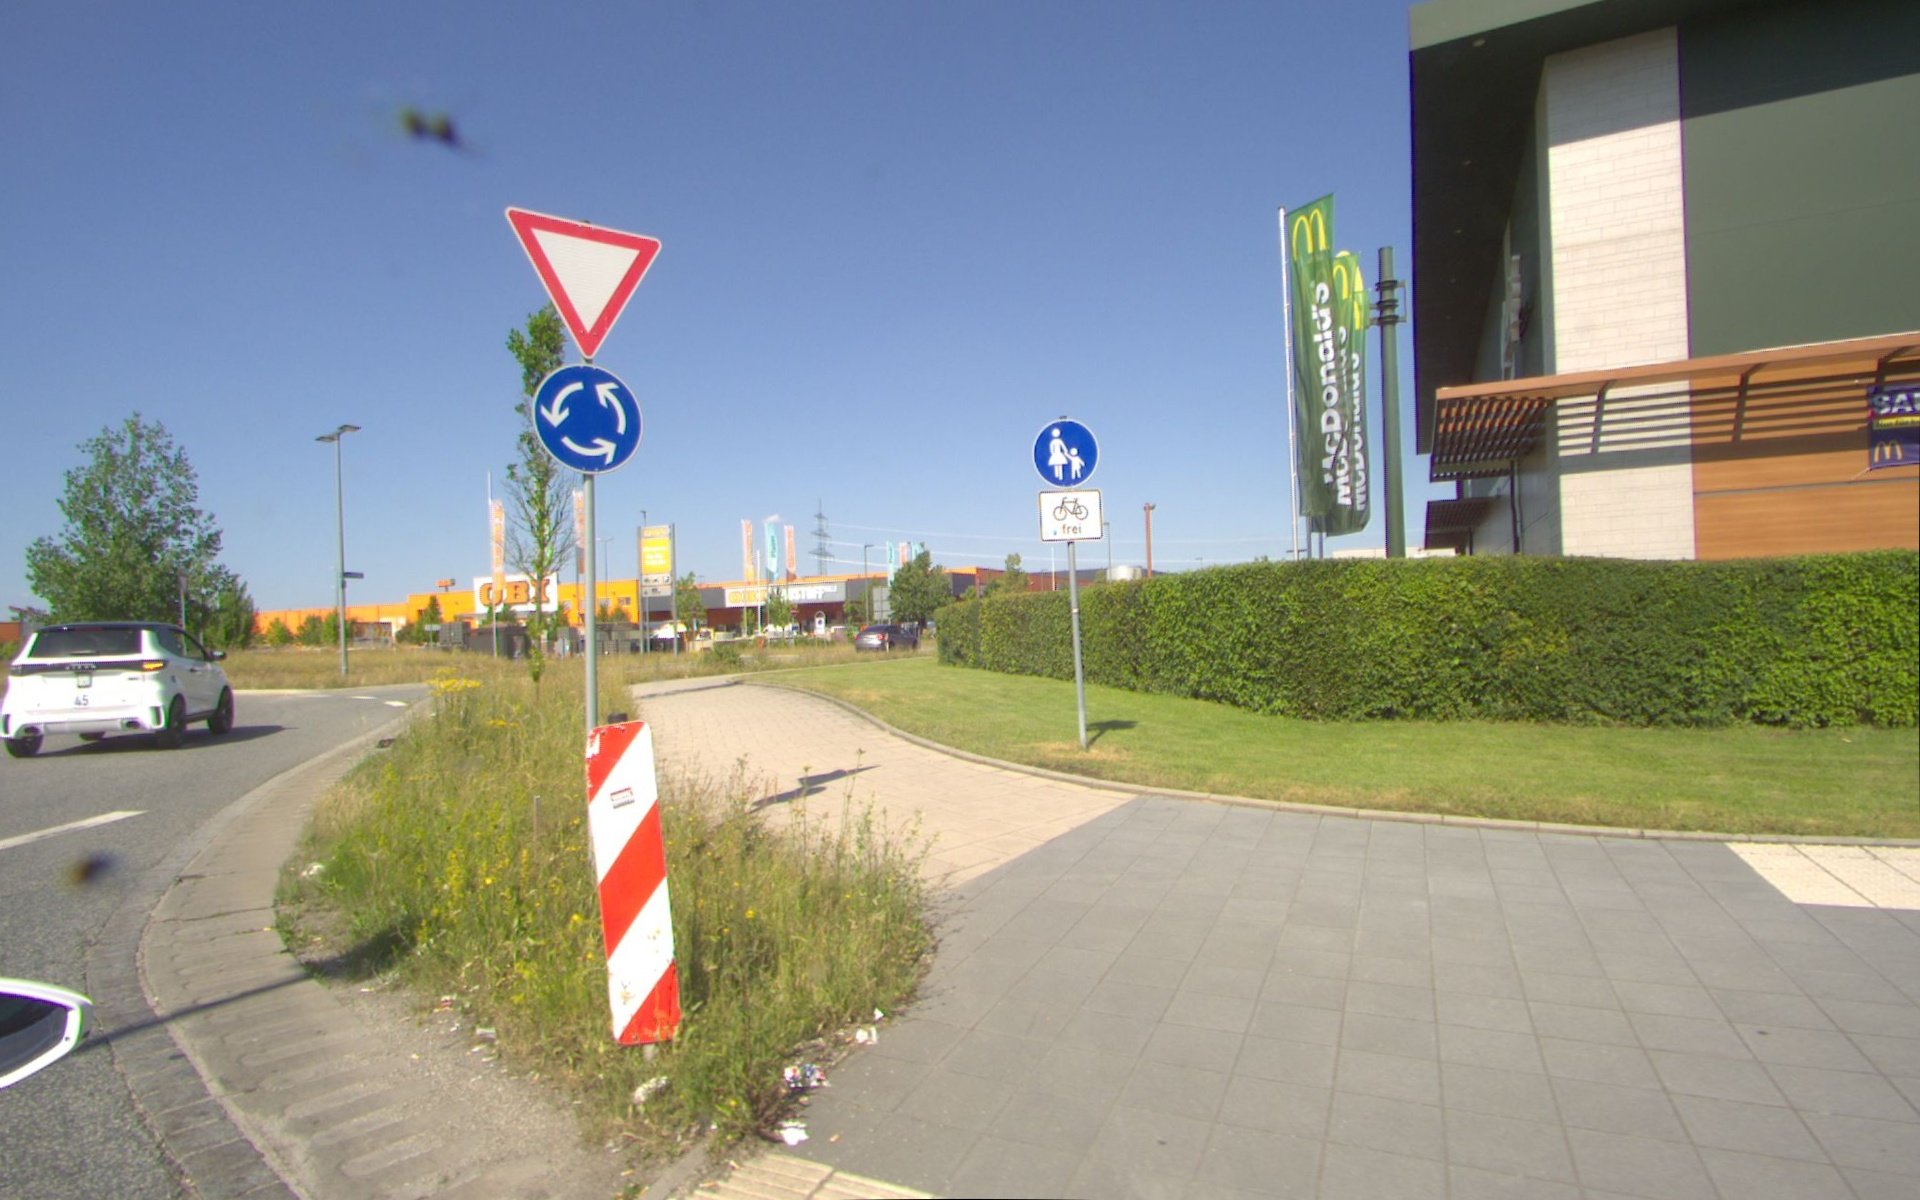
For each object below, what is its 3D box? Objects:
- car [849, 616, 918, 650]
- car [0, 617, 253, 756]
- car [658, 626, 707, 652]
[{"bbox_3d":[-3.942,1.694,52.359,1.802,1.605,4.155,-2,-1,24],"label":"car"},{"bbox_3d":[-10.090,0.944,12.359,1.489,1.459,3.340,0,-1,-22],"label":"car"},{"bbox_3d":[-20.623,2.937,74.554,1.671,1.864,3.769,-2,-3,20],"label":"car"}]
